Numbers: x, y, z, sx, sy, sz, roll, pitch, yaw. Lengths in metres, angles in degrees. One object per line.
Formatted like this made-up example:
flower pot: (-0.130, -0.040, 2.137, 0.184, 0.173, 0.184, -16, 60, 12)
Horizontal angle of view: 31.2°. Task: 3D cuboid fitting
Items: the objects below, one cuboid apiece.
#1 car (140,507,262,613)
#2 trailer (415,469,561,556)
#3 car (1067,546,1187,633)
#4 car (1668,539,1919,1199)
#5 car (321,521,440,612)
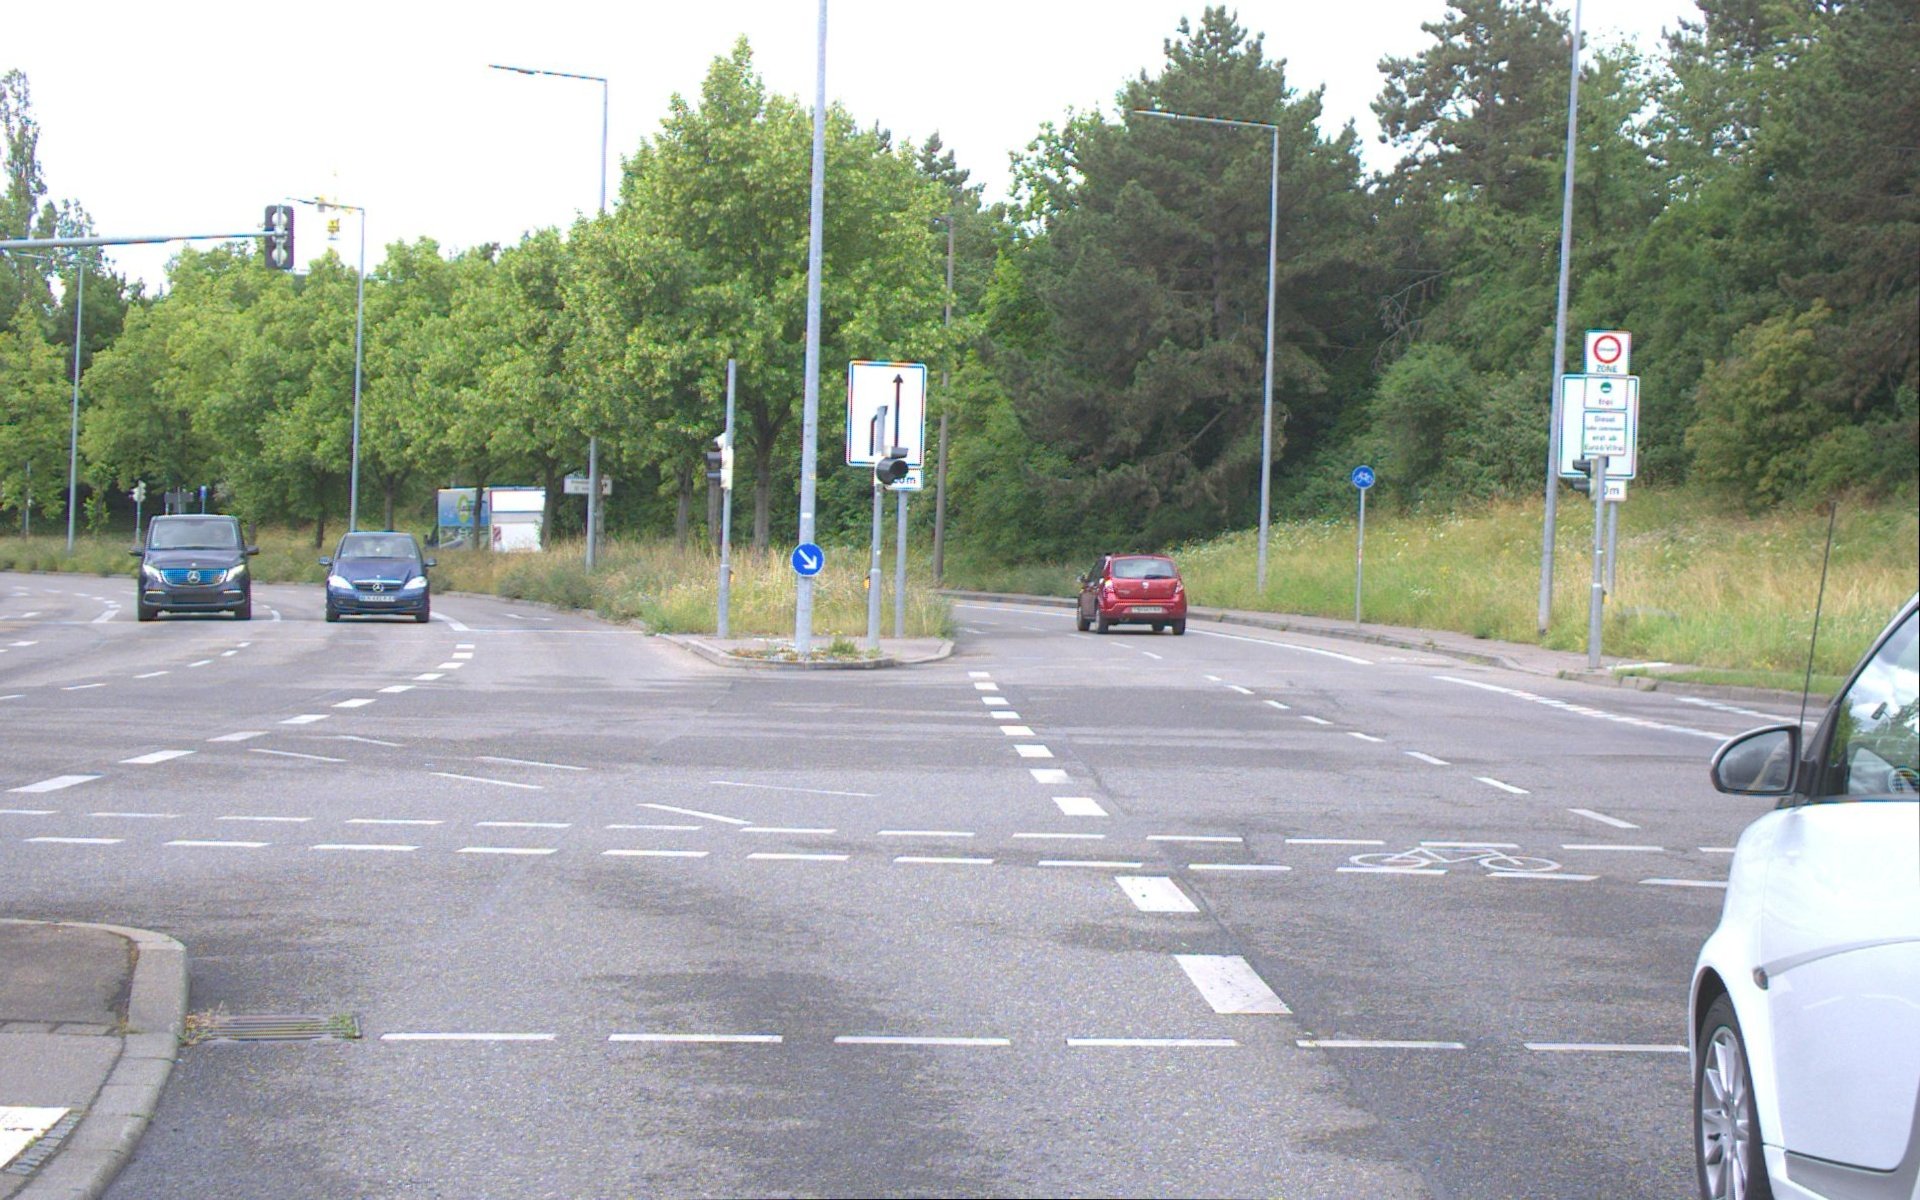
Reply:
car: (-13.456, -0.724, 61.155, 1.887, 1.806, 5.094, 0, 1, -10)
trailer: (-17.009, -3.126, 123.506, 2.746, 3.002, 6.087, 1, 1, -34)
car: (3.196, -0.219, 66.450, 1.784, 1.598, 3.888, 1, 0, -5)
car: (2.363, 0.661, 6.226, 1.592, 1.511, 2.766, 1, 0, 0)
car: (-10.093, -0.583, 60.050, 1.735, 1.503, 3.661, 1, 0, -5)
